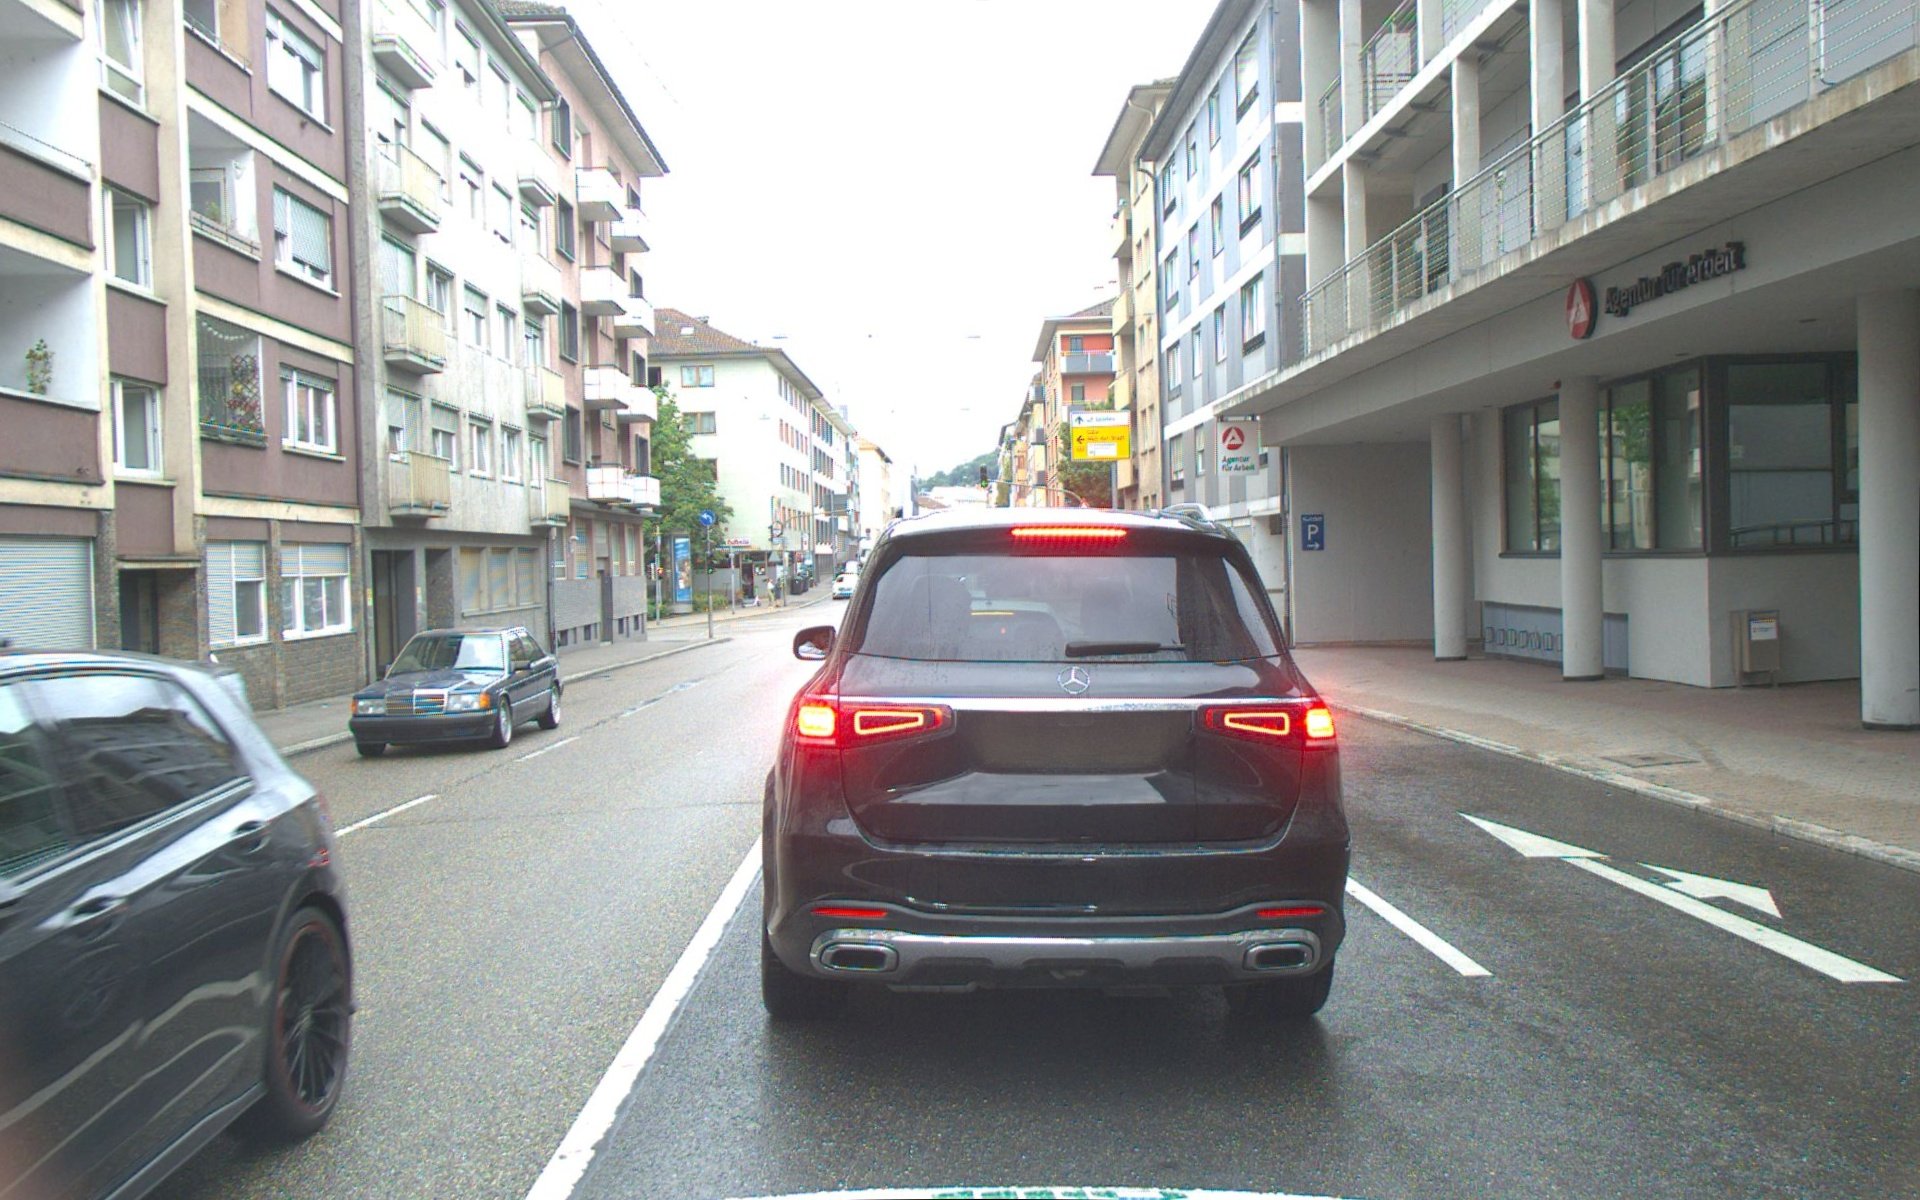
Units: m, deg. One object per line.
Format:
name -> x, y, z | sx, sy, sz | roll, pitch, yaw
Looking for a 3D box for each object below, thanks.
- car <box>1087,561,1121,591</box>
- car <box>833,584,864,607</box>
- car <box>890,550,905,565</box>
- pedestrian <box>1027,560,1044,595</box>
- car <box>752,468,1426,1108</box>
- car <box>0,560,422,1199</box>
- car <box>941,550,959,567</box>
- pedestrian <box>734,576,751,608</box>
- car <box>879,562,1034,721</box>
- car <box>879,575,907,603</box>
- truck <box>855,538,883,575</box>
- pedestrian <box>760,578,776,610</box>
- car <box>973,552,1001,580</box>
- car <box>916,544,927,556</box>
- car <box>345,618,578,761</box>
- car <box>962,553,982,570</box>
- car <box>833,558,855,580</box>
car -> 8.238, -1.369, 94.754 | 1.636, 1.616, 3.331 | -2, 1, 1
car -> -7.104, -0.272, 105.377 | 1.848, 1.286, 4.215 | -3, 0, -3
car -> -7.289, -4.944, 193.606 | 1.586, 1.566, 4.215 | -3, 0, -3
pedestrian -> 4.496, -1.351, 98.647 | 0.904, 2.049, 0.706 | -2, 0, -3
car -> 0.351, 0.560, 7.021 | 1.944, 1.836, 4.389 | 1, 0, -1
car -> -2.599, 0.783, 3.390 | 1.661, 1.608, 4.216 | -4, -1, -2
car -> -1.039, -4.177, 166.350 | 1.586, 1.566, 4.215 | -3, 0, -3
pedestrian -> -13.381, -0.495, 101.563 | 0.904, 1.935, 0.706 | -2, 0, -3
car -> -0.136, 0.482, 20.829 | 1.716, 1.762, 4.215 | -1, 0, -3
car -> -4.134, -0.646, 101.171 | 1.586, 1.566, 4.215 | -3, 0, -3
truck -> -8.607, -4.052, 156.943 | 2.430, 3.099, 9.914 | -3, 0, -3
pedestrian -> -10.892, -0.326, 93.966 | 0.622, 1.795, 0.774 | -2, 0, 13
car -> 1.914, -2.406, 118.517 | 1.689, 1.790, 4.215 | -3, 0, -3
car -> -5.833, -7.580, 250.186 | 1.586, 1.566, 4.215 | -3, 0, -3
car -> -5.947, 0.998, 20.237 | 1.566, 1.394, 4.361 | -4, 0, -2
car -> 1.121, -3.608, 154.627 | 1.586, 1.411, 4.215 | -3, 0, -3
car -> -9.217, -2.483, 131.492 | 1.586, 1.566, 4.215 | -3, 0, -3
